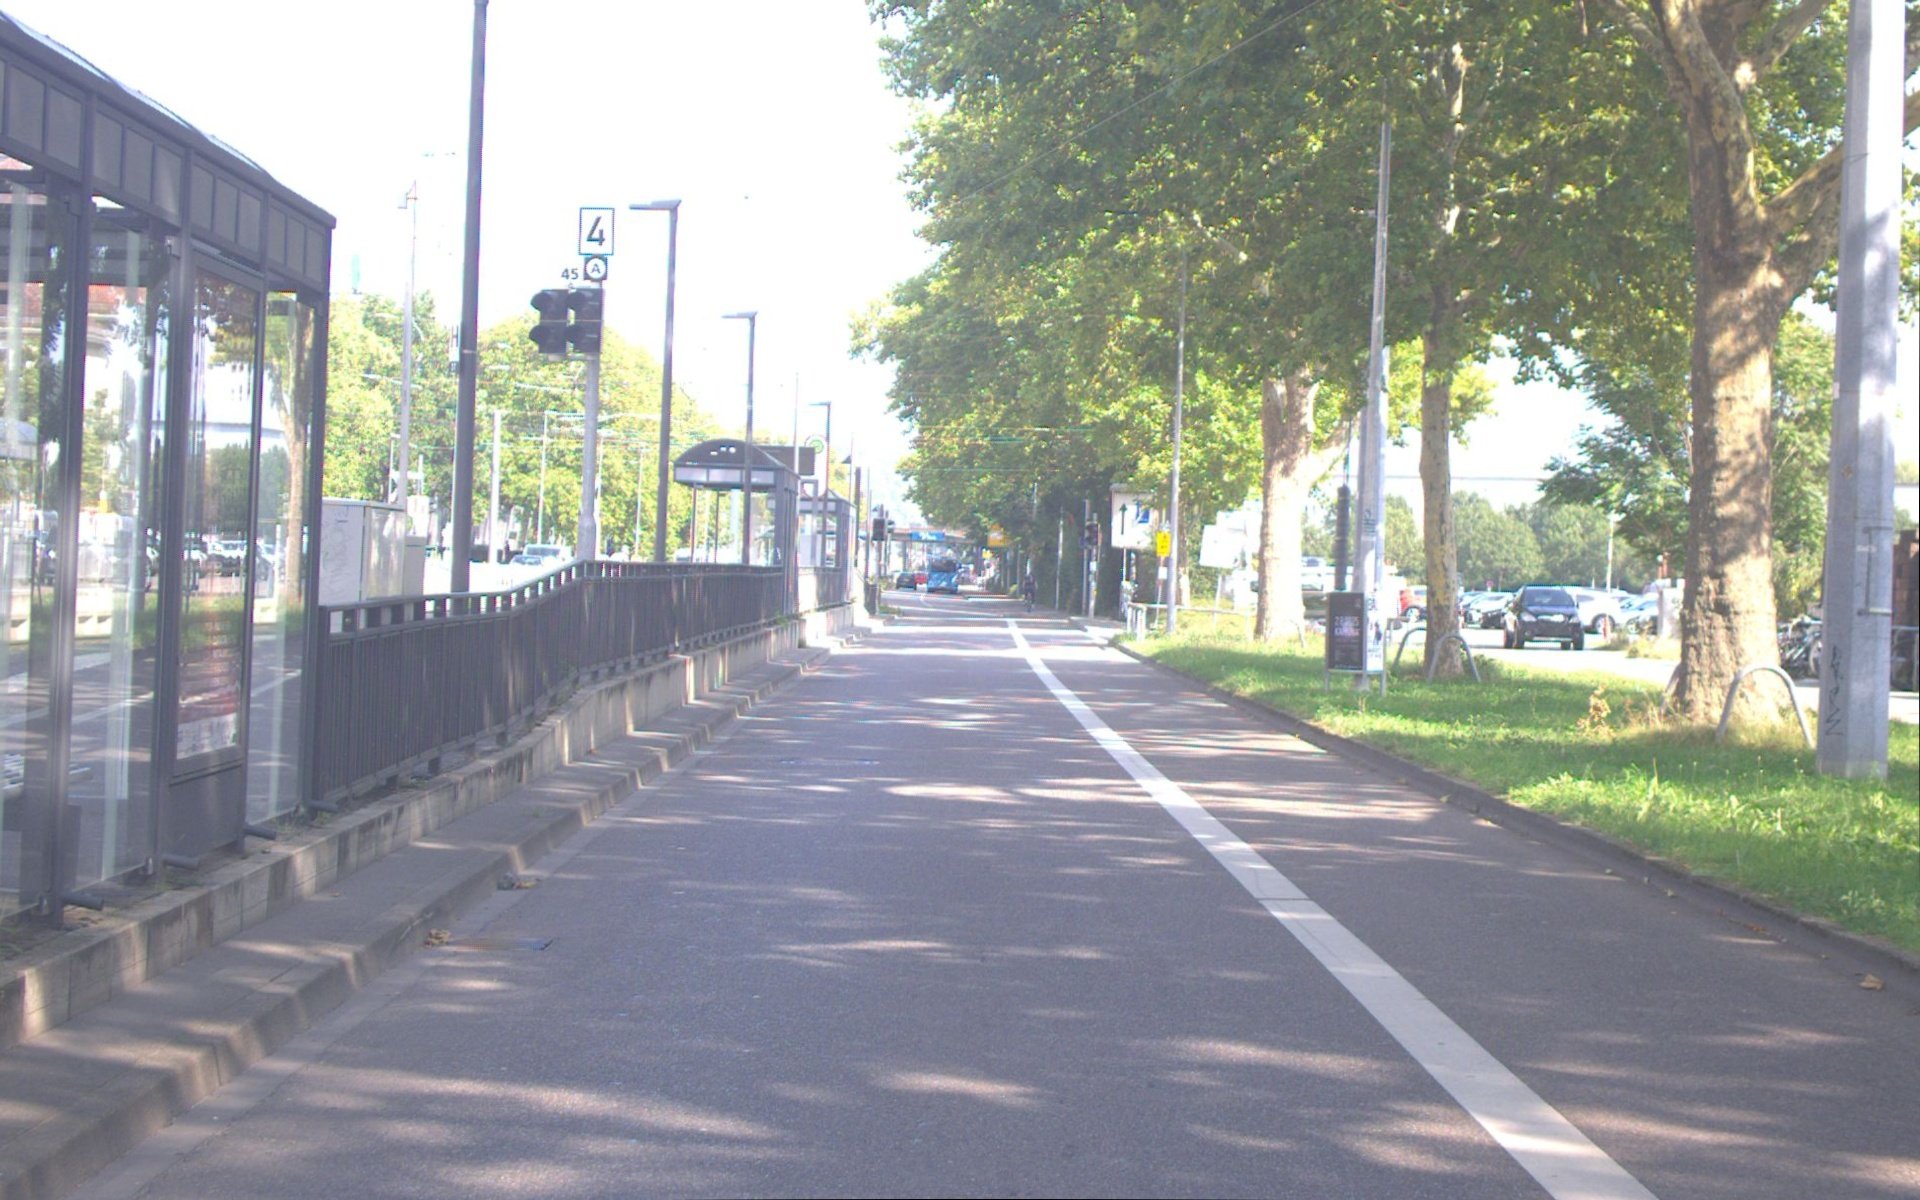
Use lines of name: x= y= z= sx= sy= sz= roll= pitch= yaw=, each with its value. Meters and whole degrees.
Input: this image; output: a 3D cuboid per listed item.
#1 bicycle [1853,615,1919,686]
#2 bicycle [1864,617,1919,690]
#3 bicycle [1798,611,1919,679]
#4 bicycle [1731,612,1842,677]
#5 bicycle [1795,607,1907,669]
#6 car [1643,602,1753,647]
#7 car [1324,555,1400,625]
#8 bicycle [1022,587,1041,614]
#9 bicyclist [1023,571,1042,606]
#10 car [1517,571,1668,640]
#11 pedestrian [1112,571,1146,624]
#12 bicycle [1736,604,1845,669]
bicycle: x=13.179 y=0.695 z=47.318 sx=1.656 sy=0.966 sz=0.506 roll=0 pitch=0 yaw=5
bicycle: x=13.145 y=0.726 z=46.564 sx=1.656 sy=0.966 sz=0.506 roll=0 pitch=0 yaw=1
bicycle: x=13.147 y=0.651 z=50.321 sx=1.656 sy=0.966 sz=0.506 roll=0 pitch=0 yaw=5
bicycle: x=12.706 y=0.678 z=52.889 sx=0.505 sy=0.966 sz=1.661 roll=0 pitch=1 yaw=-41
bicycle: x=14.191 y=0.605 z=54.763 sx=1.656 sy=0.966 sz=0.506 roll=0 pitch=0 yaw=3
car: x=27.272 y=0.916 z=127.158 sx=3.775 sy=1.441 sz=1.526 roll=3 pitch=0 yaw=7
car: x=12.166 y=-0.317 z=104.325 sx=1.722 sy=2.041 sz=4.461 roll=2 pitch=0 yaw=0
bicycle: x=3.083 y=0.009 z=147.532 sx=0.715 sy=1.104 sz=2.509 roll=3 pitch=0 yaw=0
bicyclist: x=3.111 y=-0.512 z=147.715 sx=0.705 sy=1.456 sz=1.009 roll=3 pitch=0 yaw=0
car: x=16.573 y=0.143 z=89.955 sx=1.726 sy=1.673 sz=4.237 roll=2 pitch=1 yaw=45
pedestrian: x=5.279 y=-0.076 z=107.264 sx=0.626 sy=1.612 sz=0.843 roll=2 pitch=1 yaw=38
bicycle: x=12.944 y=0.561 z=53.593 sx=0.505 sy=0.966 sz=1.661 roll=0 pitch=1 yaw=-41
